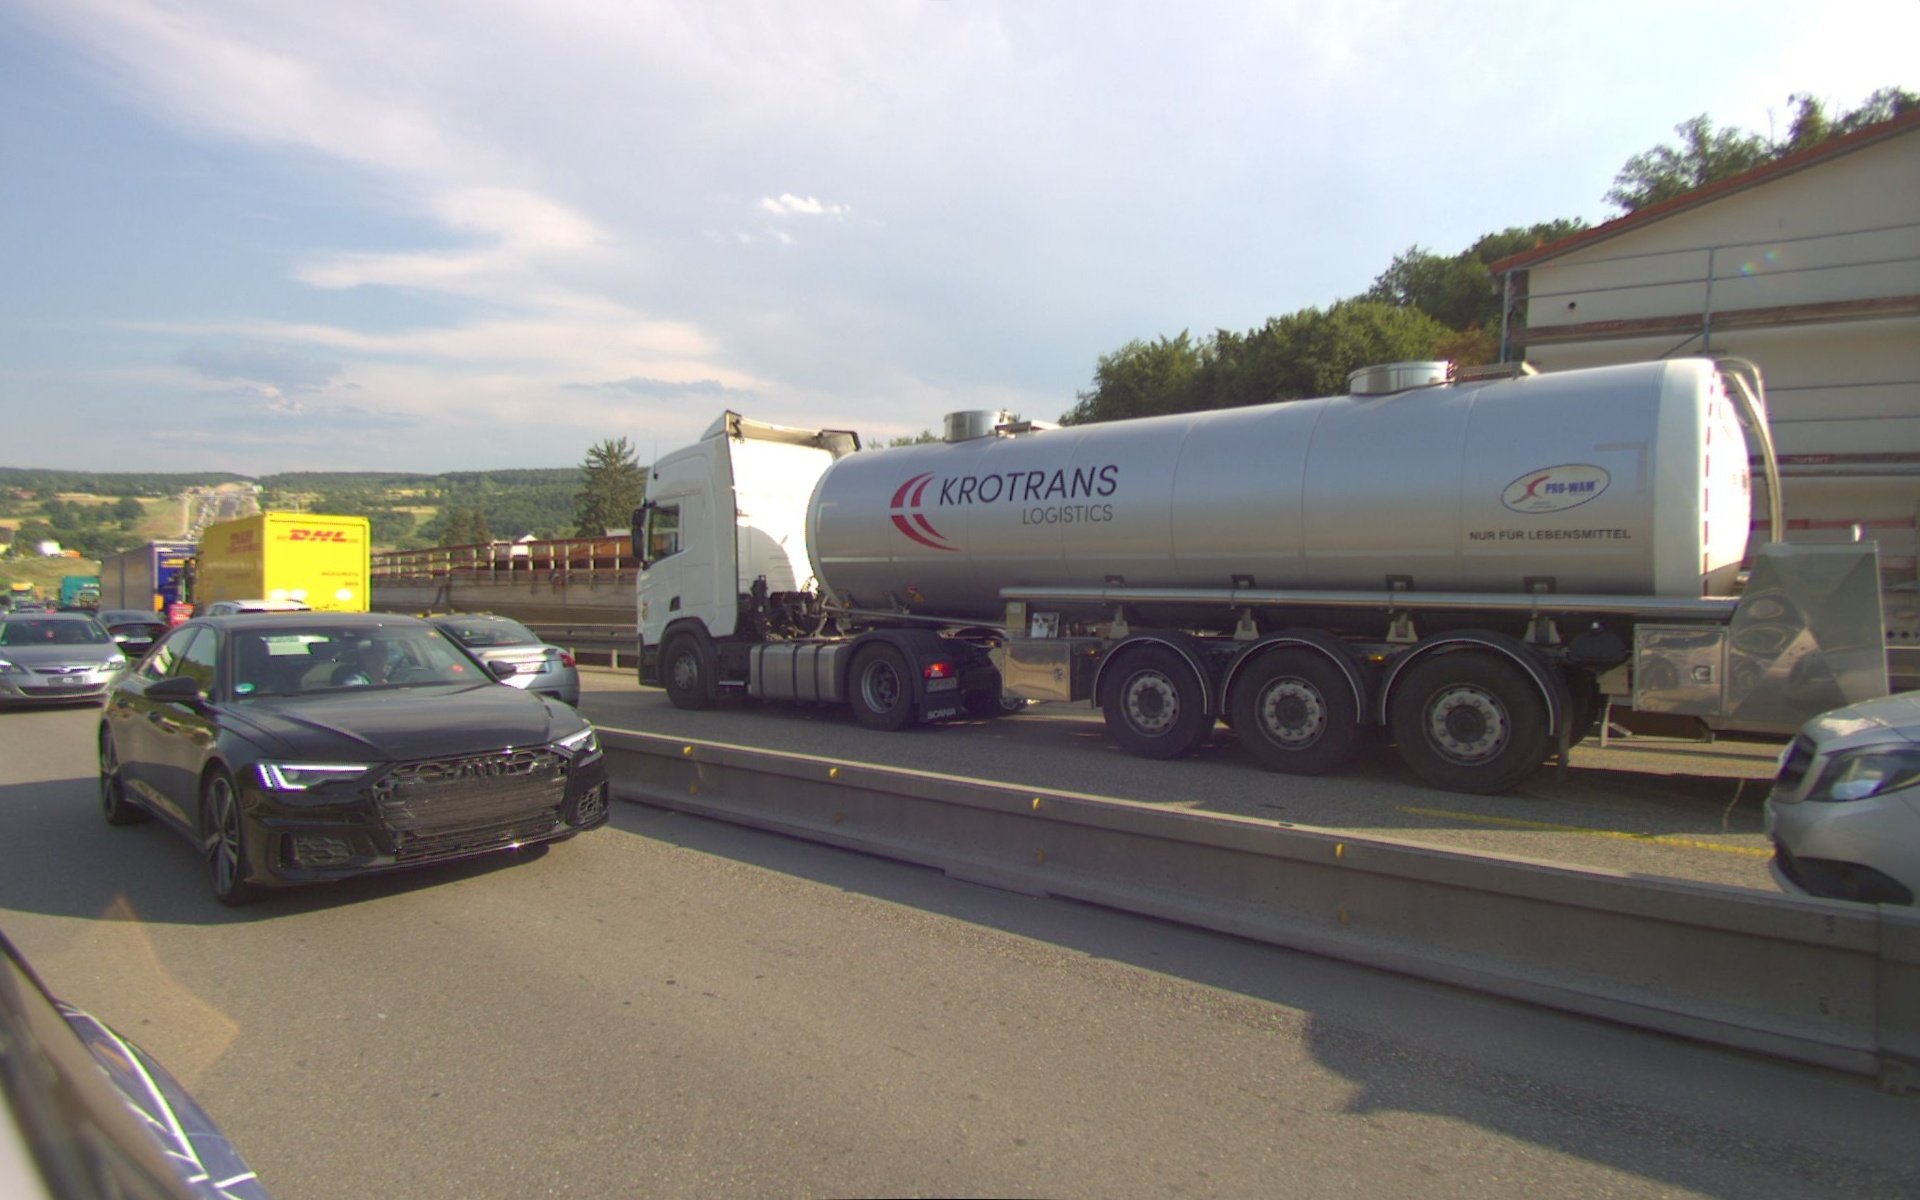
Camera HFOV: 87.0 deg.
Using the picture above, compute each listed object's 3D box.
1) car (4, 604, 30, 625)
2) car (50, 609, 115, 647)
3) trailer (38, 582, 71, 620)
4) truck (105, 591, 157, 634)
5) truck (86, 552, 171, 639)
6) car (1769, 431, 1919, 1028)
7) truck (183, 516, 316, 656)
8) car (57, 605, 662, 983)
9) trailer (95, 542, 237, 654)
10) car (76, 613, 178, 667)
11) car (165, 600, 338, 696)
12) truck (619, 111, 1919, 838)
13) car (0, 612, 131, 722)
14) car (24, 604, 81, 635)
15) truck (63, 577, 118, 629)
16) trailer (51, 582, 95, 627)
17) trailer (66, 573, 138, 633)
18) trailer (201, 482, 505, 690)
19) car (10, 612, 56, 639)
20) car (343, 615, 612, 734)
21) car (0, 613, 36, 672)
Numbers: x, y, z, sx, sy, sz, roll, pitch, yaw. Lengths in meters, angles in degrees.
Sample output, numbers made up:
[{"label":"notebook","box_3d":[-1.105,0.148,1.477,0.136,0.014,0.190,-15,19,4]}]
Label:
[{"label":"car","box_3d":[-96.770,1.444,103.878,1.802,1.948,5.135,4,-2,-44]},{"label":"car","box_3d":[-37.483,1.155,43.203,4.292,1.519,1.697,1,0,44]},{"label":"trailer","box_3d":[-110.350,0.116,123.299,2.876,4.499,7.161,-1,1,-42]},{"label":"truck","box_3d":[-85.235,1.269,103.966,3.121,4.154,12.503,2,-1,-44]},{"label":"truck","box_3d":[-42.072,-0.231,51.130,5.796,4.172,2.671,1,0,44]},{"label":"car","box_3d":[5.269,0.382,2.666,4.859,1.931,1.815,-1,-1,39]},{"label":"truck","box_3d":[-23.155,-0.426,32.932,4.398,4.228,2.664,1,0,43]},{"label":"car","box_3d":[-4.212,0.812,6.581,5.221,1.491,1.919,0,-1,42]},{"label":"trailer","box_3d":[-35.161,-0.140,44.383,16.758,4.166,2.684,1,0,44]},{"label":"car","box_3d":[-25.201,1.138,30.555,4.903,1.412,1.720,1,0,43]},{"label":"car","box_3d":[-14.006,0.846,19.894,4.559,1.660,1.826,0,-1,42]},{"label":"truck","box_3d":[1.312,-0.625,10.883,13.886,4.000,2.780,-1,0,41]},{"label":"car","box_3d":[-14.464,0.951,15.888,4.120,1.498,1.785,0,0,44]},{"label":"car","box_3d":[-46.143,0.953,51.422,4.616,1.464,1.777,1,0,43]},{"label":"truck","box_3d":[-66.631,0.230,77.497,2.717,3.834,7.117,2,-1,-44]},{"label":"trailer","box_3d":[-87.741,0.474,99.981,2.683,4.154,12.503,2,-1,-44]},{"label":"trailer","box_3d":[-60.882,0.233,71.601,2.717,3.845,16.058,2,-1,-44]},{"label":"trailer","box_3d":[-16.915,-0.353,27.089,15.998,4.235,2.671,1,0,43]},{"label":"car","box_3d":[-55.649,1.487,60.707,4.726,1.509,1.768,1,0,44]},{"label":"car","box_3d":[-6.384,0.856,13.199,4.049,1.262,1.693,0,-1,41]},{"label":"car","box_3d":[-25.597,1.082,26.380,3.998,1.452,1.800,-1,1,41]}]
